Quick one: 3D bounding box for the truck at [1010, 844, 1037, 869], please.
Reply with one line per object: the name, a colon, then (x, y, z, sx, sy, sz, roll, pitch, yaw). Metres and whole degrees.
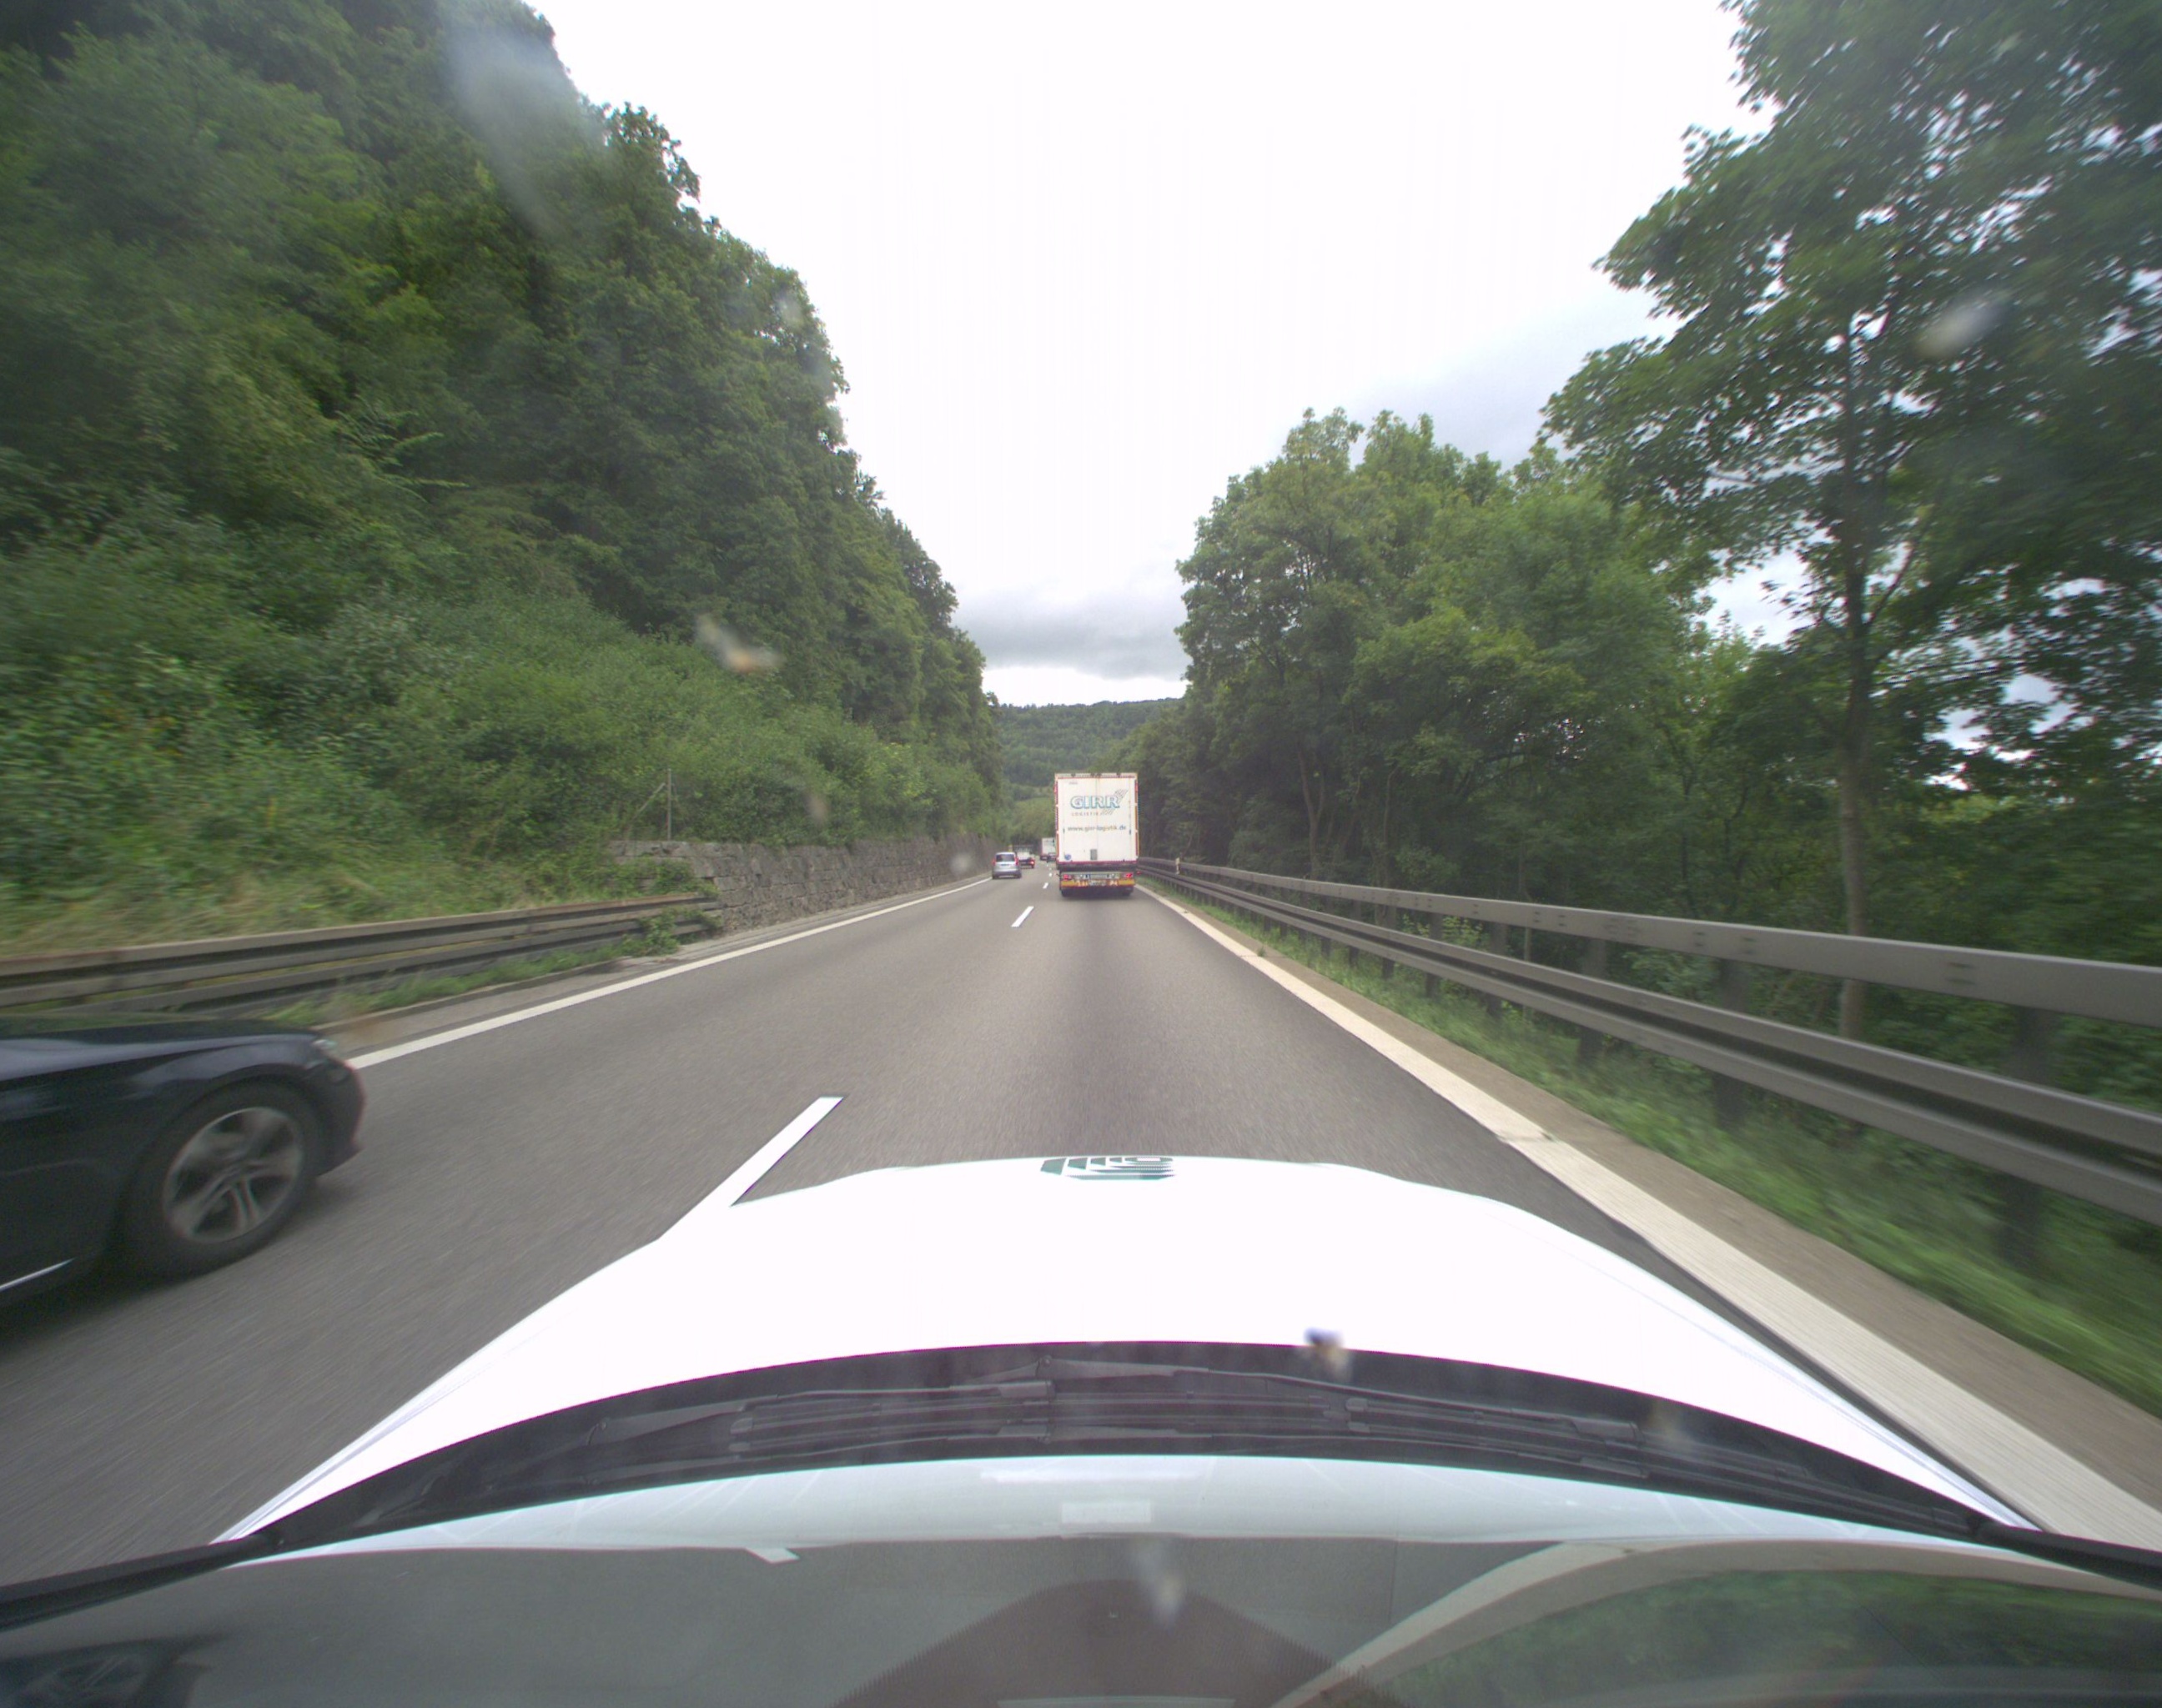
truck: (-5.450, 0.263, 78.238, 2.343, 2.274, 6.843, 1, 0, -2)

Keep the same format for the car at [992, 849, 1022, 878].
car: (-4.510, 0.549, 49.995, 1.630, 1.726, 4.341, 0, 0, -2)

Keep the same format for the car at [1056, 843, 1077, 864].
car: (-1.467, -0.010, 80.729, 1.988, 2.014, 4.330, 1, 0, -1)

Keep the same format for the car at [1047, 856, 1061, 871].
car: (-3.861, 1.376, 116.659, 1.989, 2.014, 3.996, 1, 0, -3)

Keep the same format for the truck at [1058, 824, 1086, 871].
truck: (-0.844, -0.515, 69.966, 2.227, 3.804, 6.818, 1, 0, -1)

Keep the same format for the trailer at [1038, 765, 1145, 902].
trailer: (0.331, -0.645, 29.623, 3.123, 4.042, 9.438, 2, 0, 0)

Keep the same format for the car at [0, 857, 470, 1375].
car: (-4.007, 0.778, 1.502, 1.754, 1.463, 5.125, -1, 0, 2)

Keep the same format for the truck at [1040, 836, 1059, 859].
truck: (-5.459, -1.094, 140.924, 3.062, 3.877, 8.448, 1, 0, -3)
